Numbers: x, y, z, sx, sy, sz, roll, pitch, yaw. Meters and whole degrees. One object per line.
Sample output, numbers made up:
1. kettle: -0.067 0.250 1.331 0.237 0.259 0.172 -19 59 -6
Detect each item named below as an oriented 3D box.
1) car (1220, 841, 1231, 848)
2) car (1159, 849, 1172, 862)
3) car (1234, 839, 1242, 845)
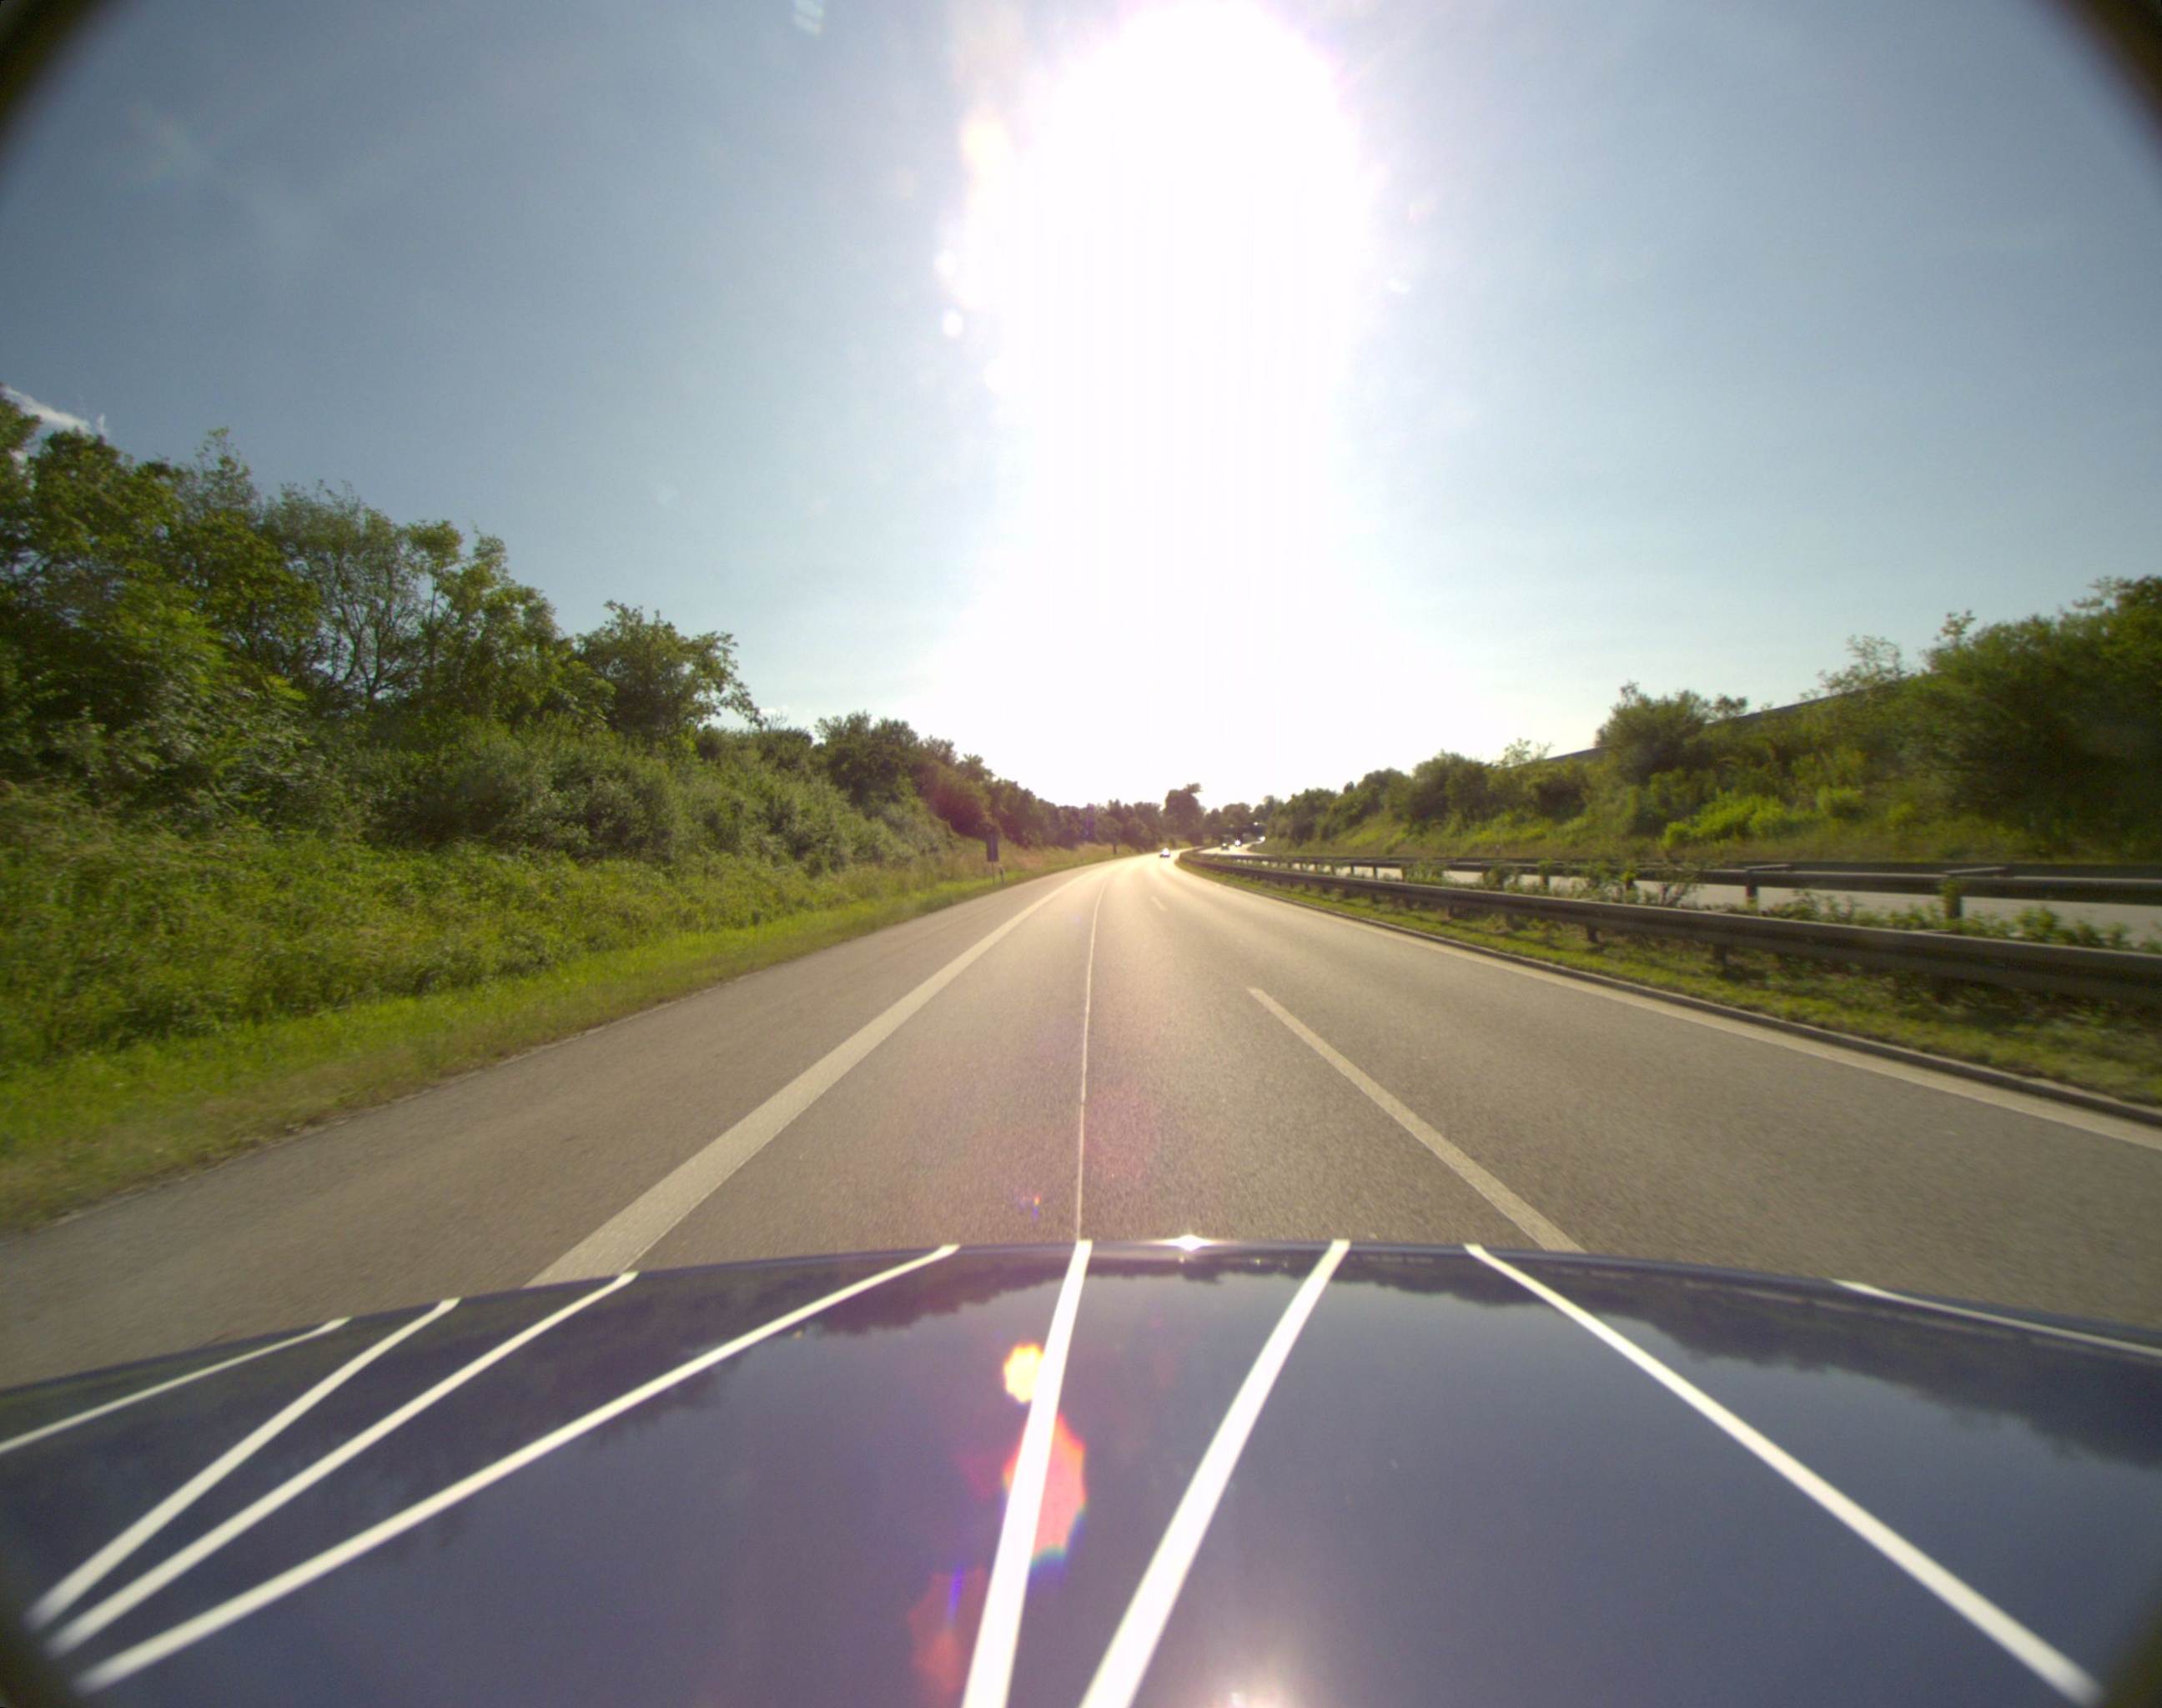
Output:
1. car: 32.193 -2.115 169.459 1.904 1.414 4.400 -1 0 5
2. car: 15.065 0.229 135.415 1.998 2.002 4.600 -4 0 4
3. car: 48.070 -3.701 232.630 1.971 1.555 5.175 -1 1 8
